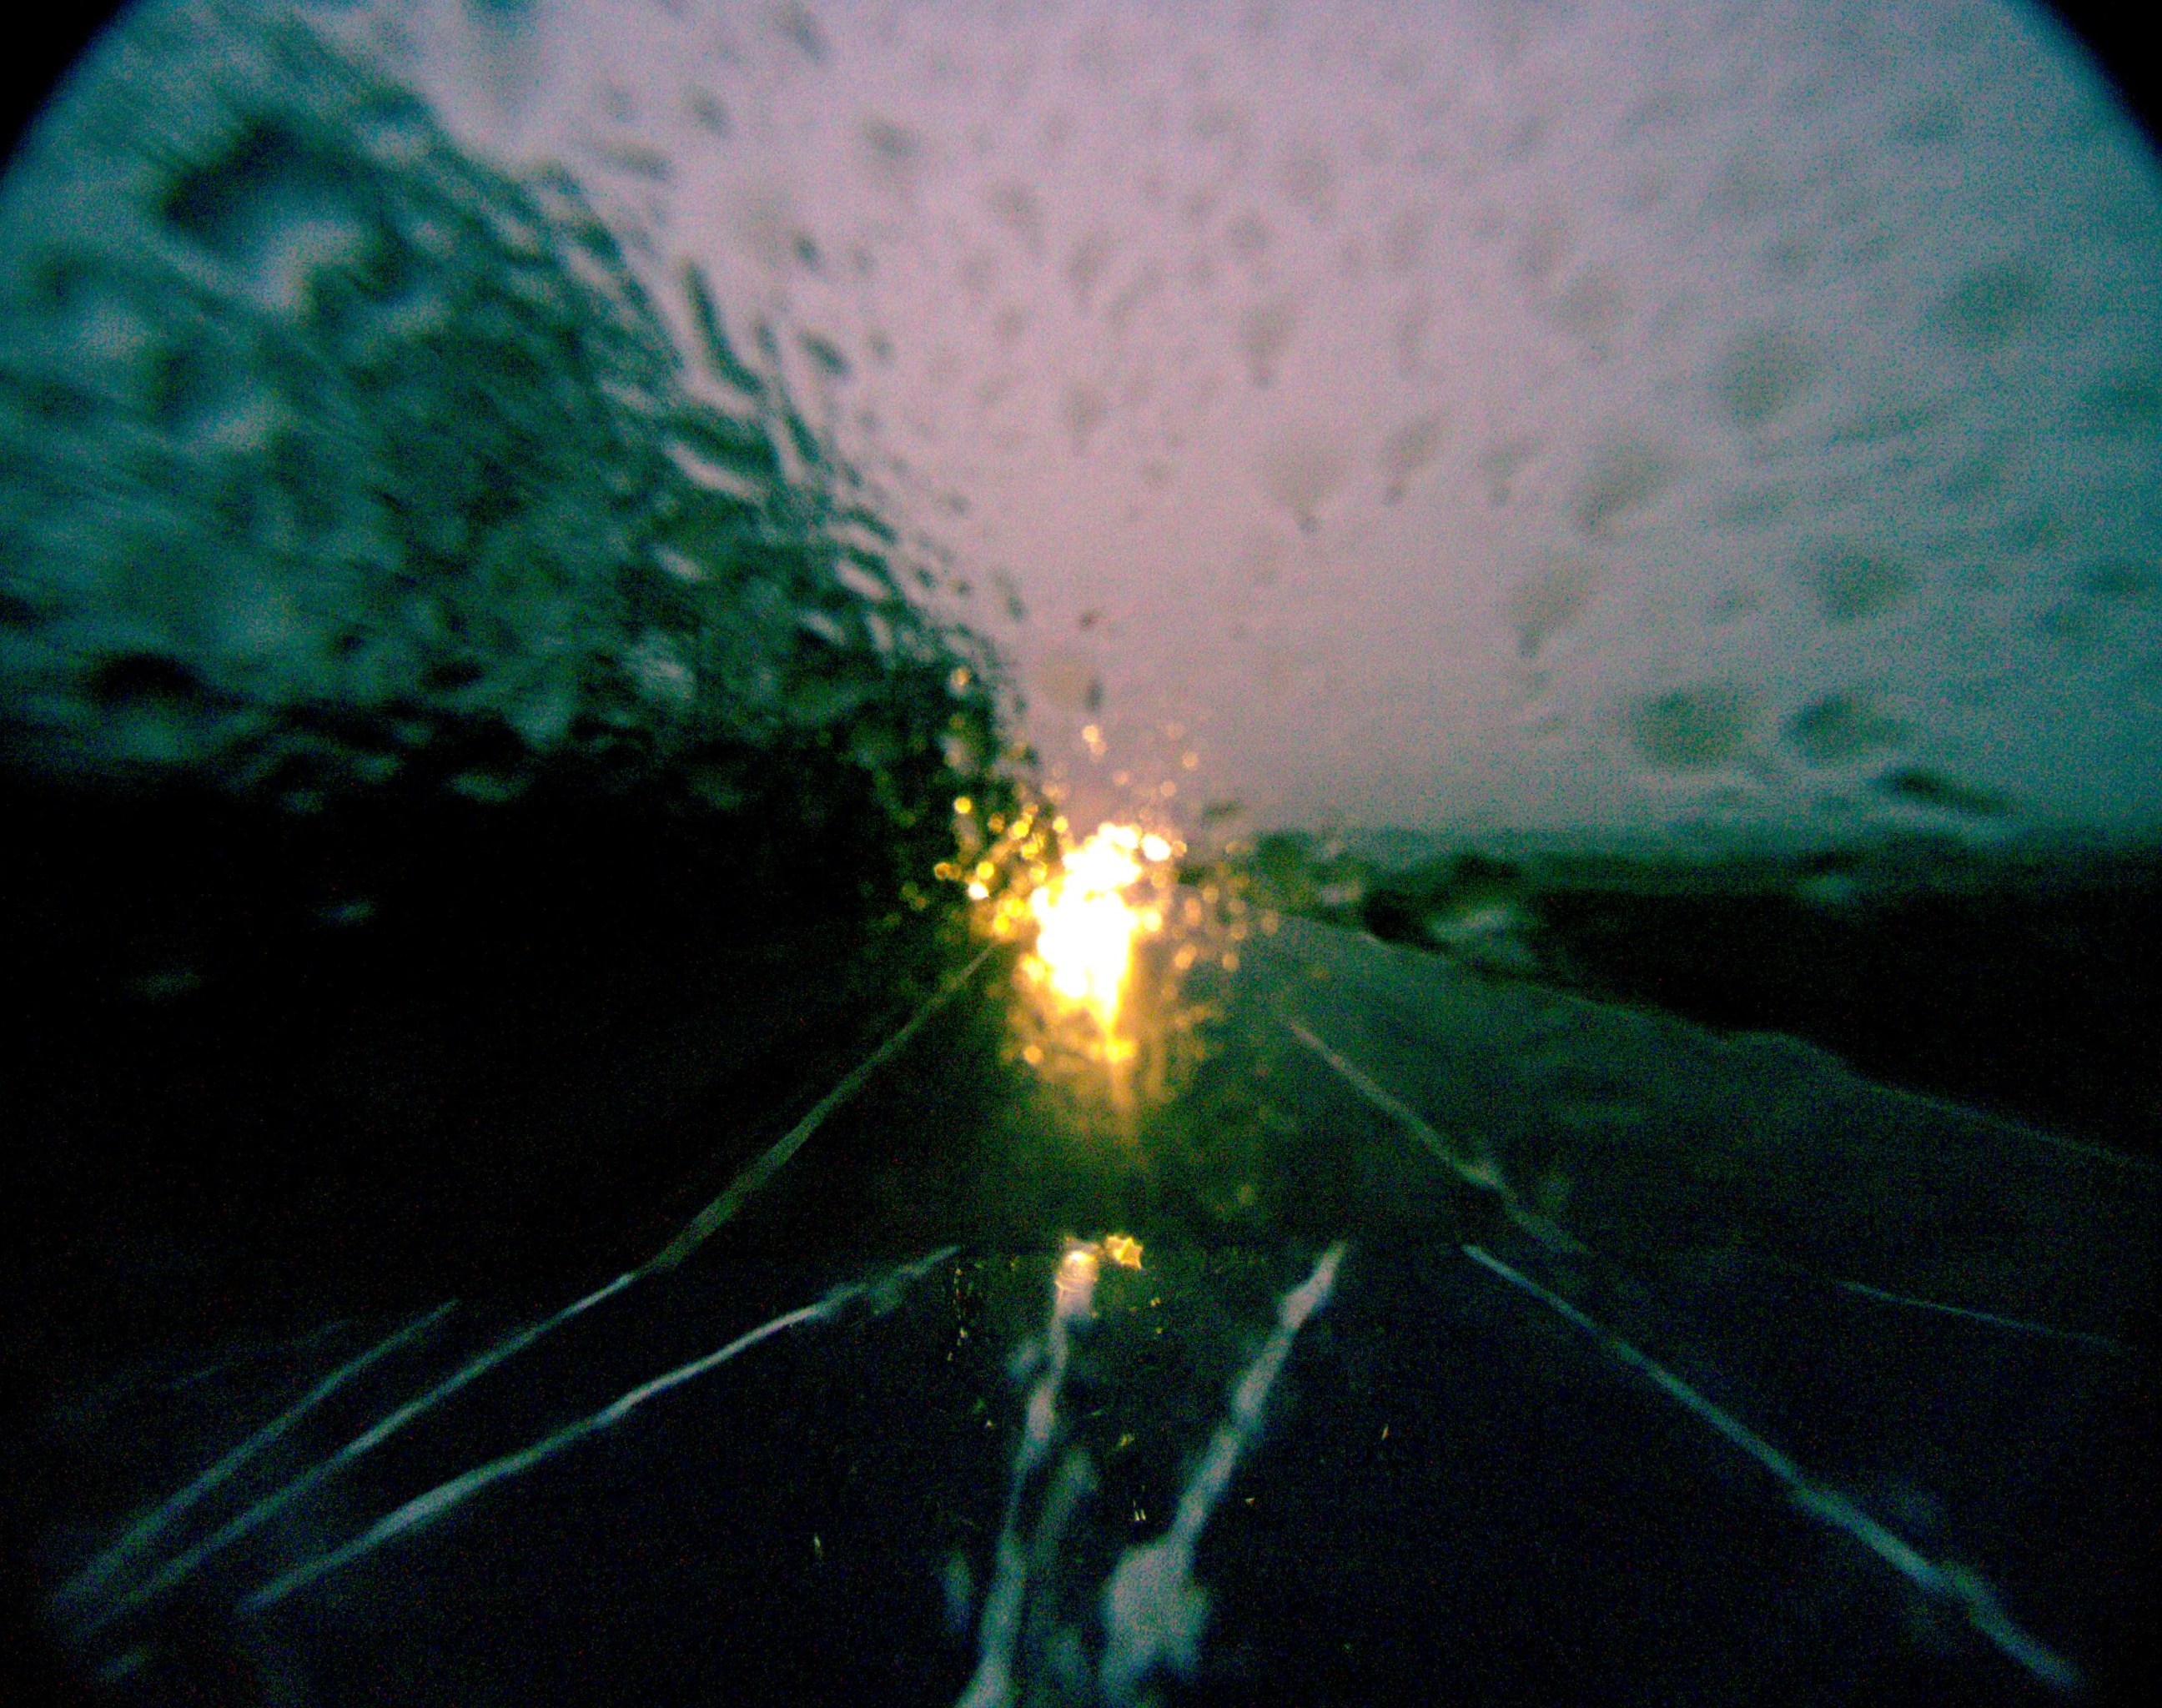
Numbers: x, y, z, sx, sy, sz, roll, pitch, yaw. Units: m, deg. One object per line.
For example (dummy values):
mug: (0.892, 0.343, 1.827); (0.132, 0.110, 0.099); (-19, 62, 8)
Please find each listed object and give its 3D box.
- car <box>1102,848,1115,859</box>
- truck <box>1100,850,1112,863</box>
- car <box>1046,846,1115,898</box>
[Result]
car: (4.726, -0.027, 130.776); (1.998, 1.812, 4.000); (1, 0, 0)
truck: (5.166, 0.431, 159.006); (2.275, 2.619, 7.034); (1, 0, 0)
car: (0.066, 0.721, 33.816); (2.704, 1.974, 5.804); (-3, 0, 2)
